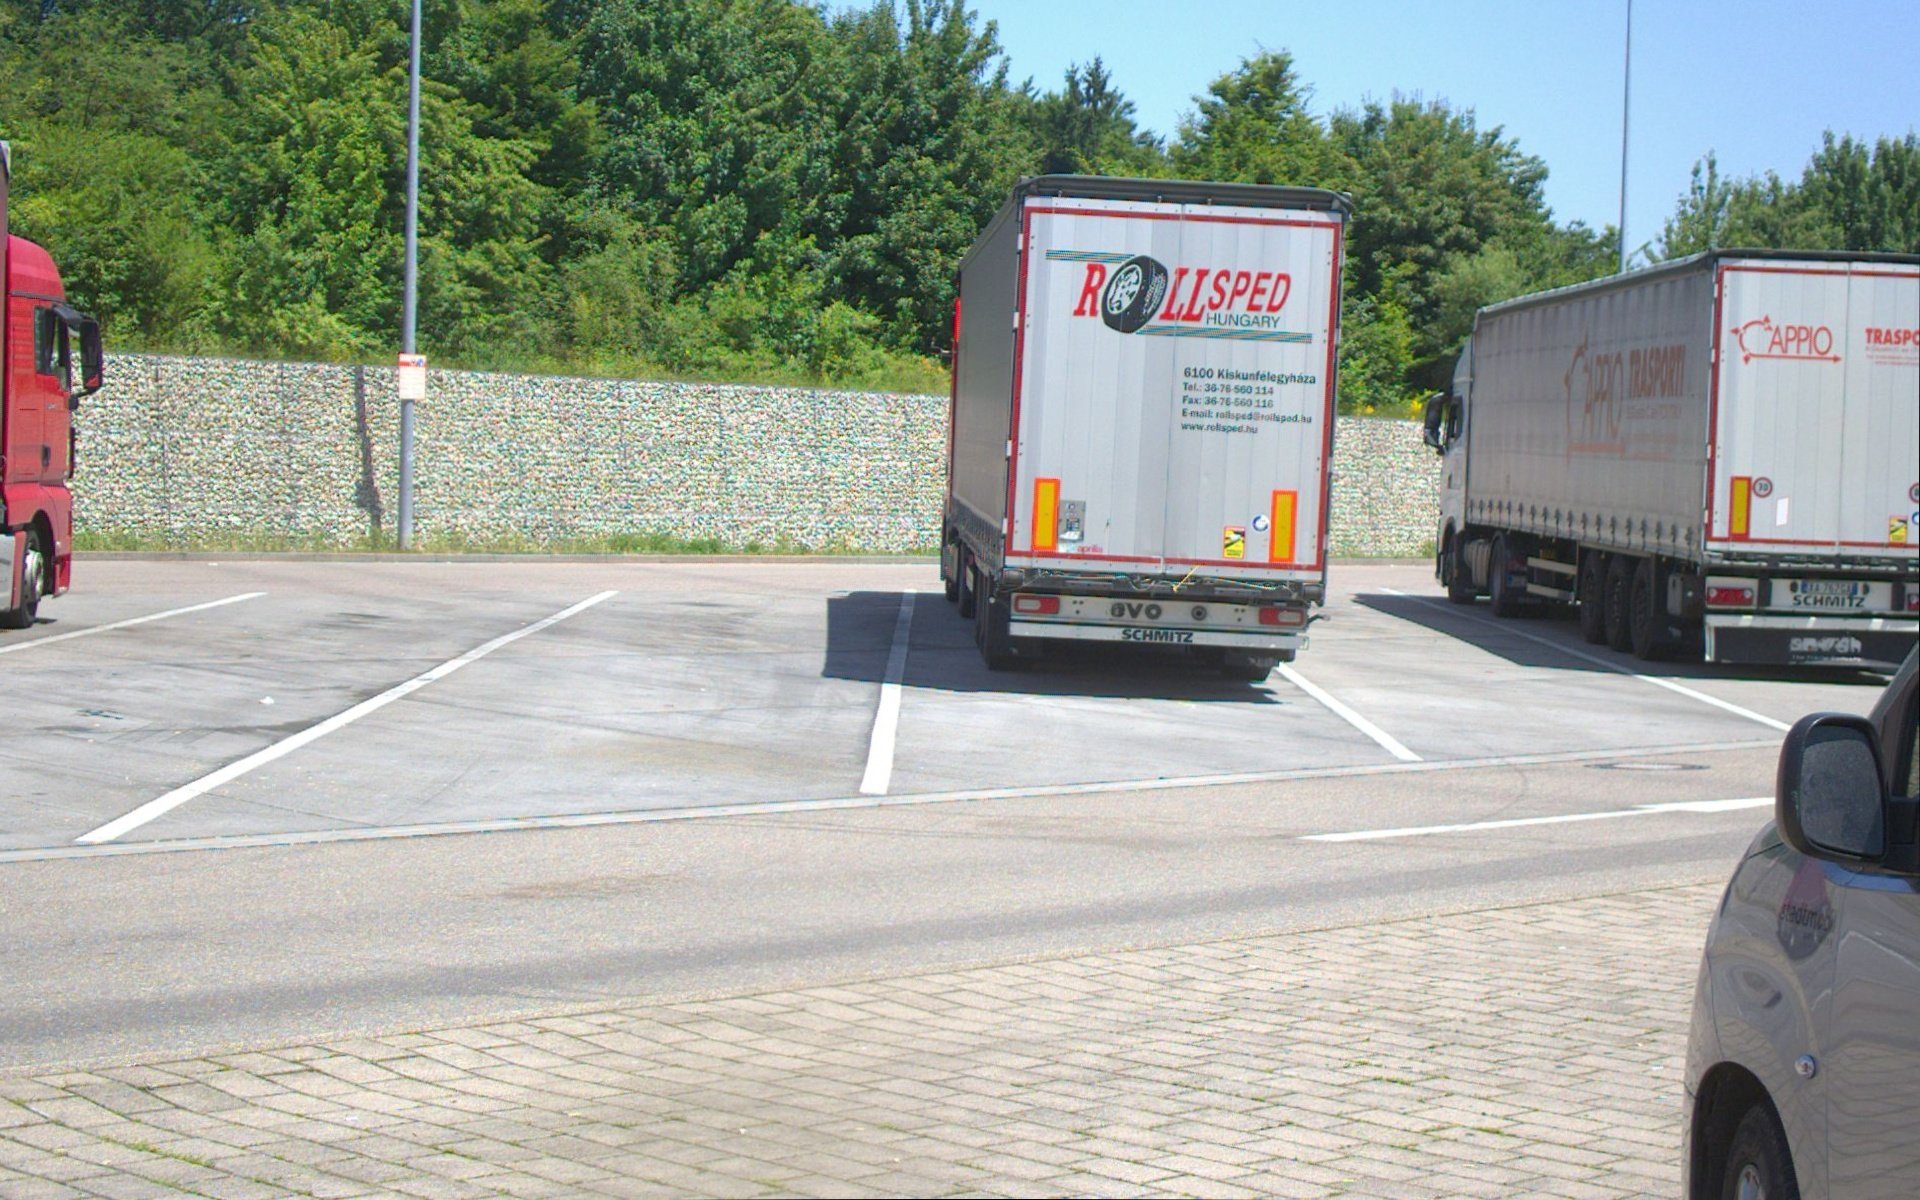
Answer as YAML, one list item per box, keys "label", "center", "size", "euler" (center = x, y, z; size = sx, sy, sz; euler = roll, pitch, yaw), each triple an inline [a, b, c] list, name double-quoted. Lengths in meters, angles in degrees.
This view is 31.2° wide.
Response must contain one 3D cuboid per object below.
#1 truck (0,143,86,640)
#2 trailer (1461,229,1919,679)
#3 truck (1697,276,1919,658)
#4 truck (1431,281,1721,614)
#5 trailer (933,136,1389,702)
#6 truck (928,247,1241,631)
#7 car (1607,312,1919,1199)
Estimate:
- label: "truck"
  center: [-9.229, -1.700, 27.649]
  size: [2.743, 4.067, 6.830]
  euler: [1, 2, -1]
- label: "trailer"
  center: [8.144, -1.570, 38.466]
  size: [2.876, 4.110, 13.572]
  euler: [1, 2, -1]
- label: "truck"
  center: [11.734, -1.471, 39.799]
  size: [2.904, 4.110, 14.528]
  euler: [3, 2, -1]
- label: "truck"
  center: [8.031, -1.986, 45.462]
  size: [2.757, 4.110, 5.285]
  euler: [1, 2, -1]
- label: "trailer"
  center: [1.481, -1.694, 32.631]
  size: [3.069, 4.213, 12.810]
  euler: [2, 3, -2]
- label: "truck"
  center: [1.267, -1.853, 39.399]
  size: [3.026, 3.915, 6.847]
  euler: [2, 3, -2]
- label: "car"
  center: [2.136, 0.544, 3.787]
  size: [1.825, 1.747, 4.001]
  euler: [1, 2, -4]
